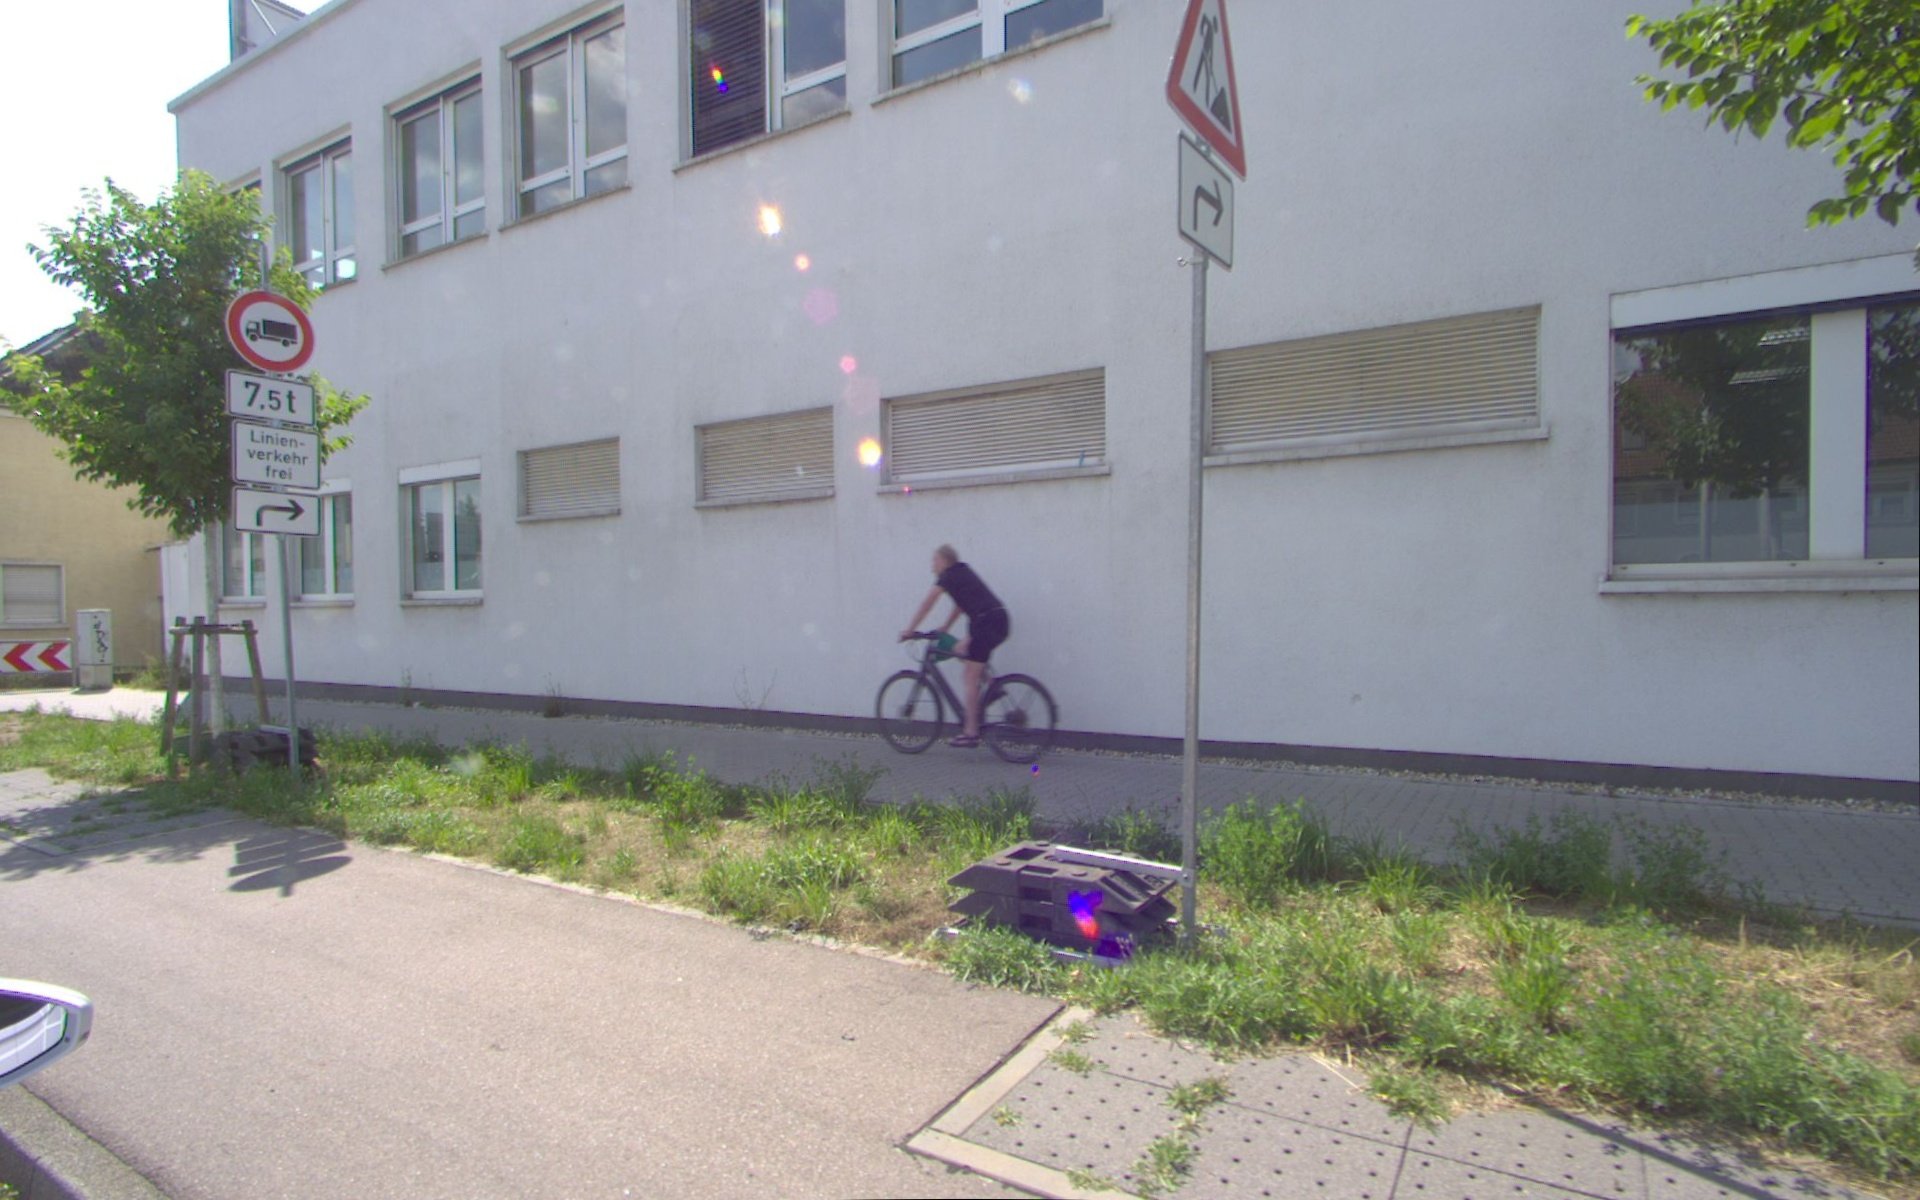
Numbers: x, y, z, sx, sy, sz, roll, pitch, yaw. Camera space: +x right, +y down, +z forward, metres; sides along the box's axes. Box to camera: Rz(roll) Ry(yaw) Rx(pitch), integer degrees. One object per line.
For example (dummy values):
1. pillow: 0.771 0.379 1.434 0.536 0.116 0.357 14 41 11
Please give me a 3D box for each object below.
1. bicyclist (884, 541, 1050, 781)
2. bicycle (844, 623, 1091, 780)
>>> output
1. bicyclist: 0.061 0.455 8.229 1.070 1.818 0.825 1 2 38
2. bicycle: 0.031 0.764 8.260 1.946 1.090 0.825 0 2 38
